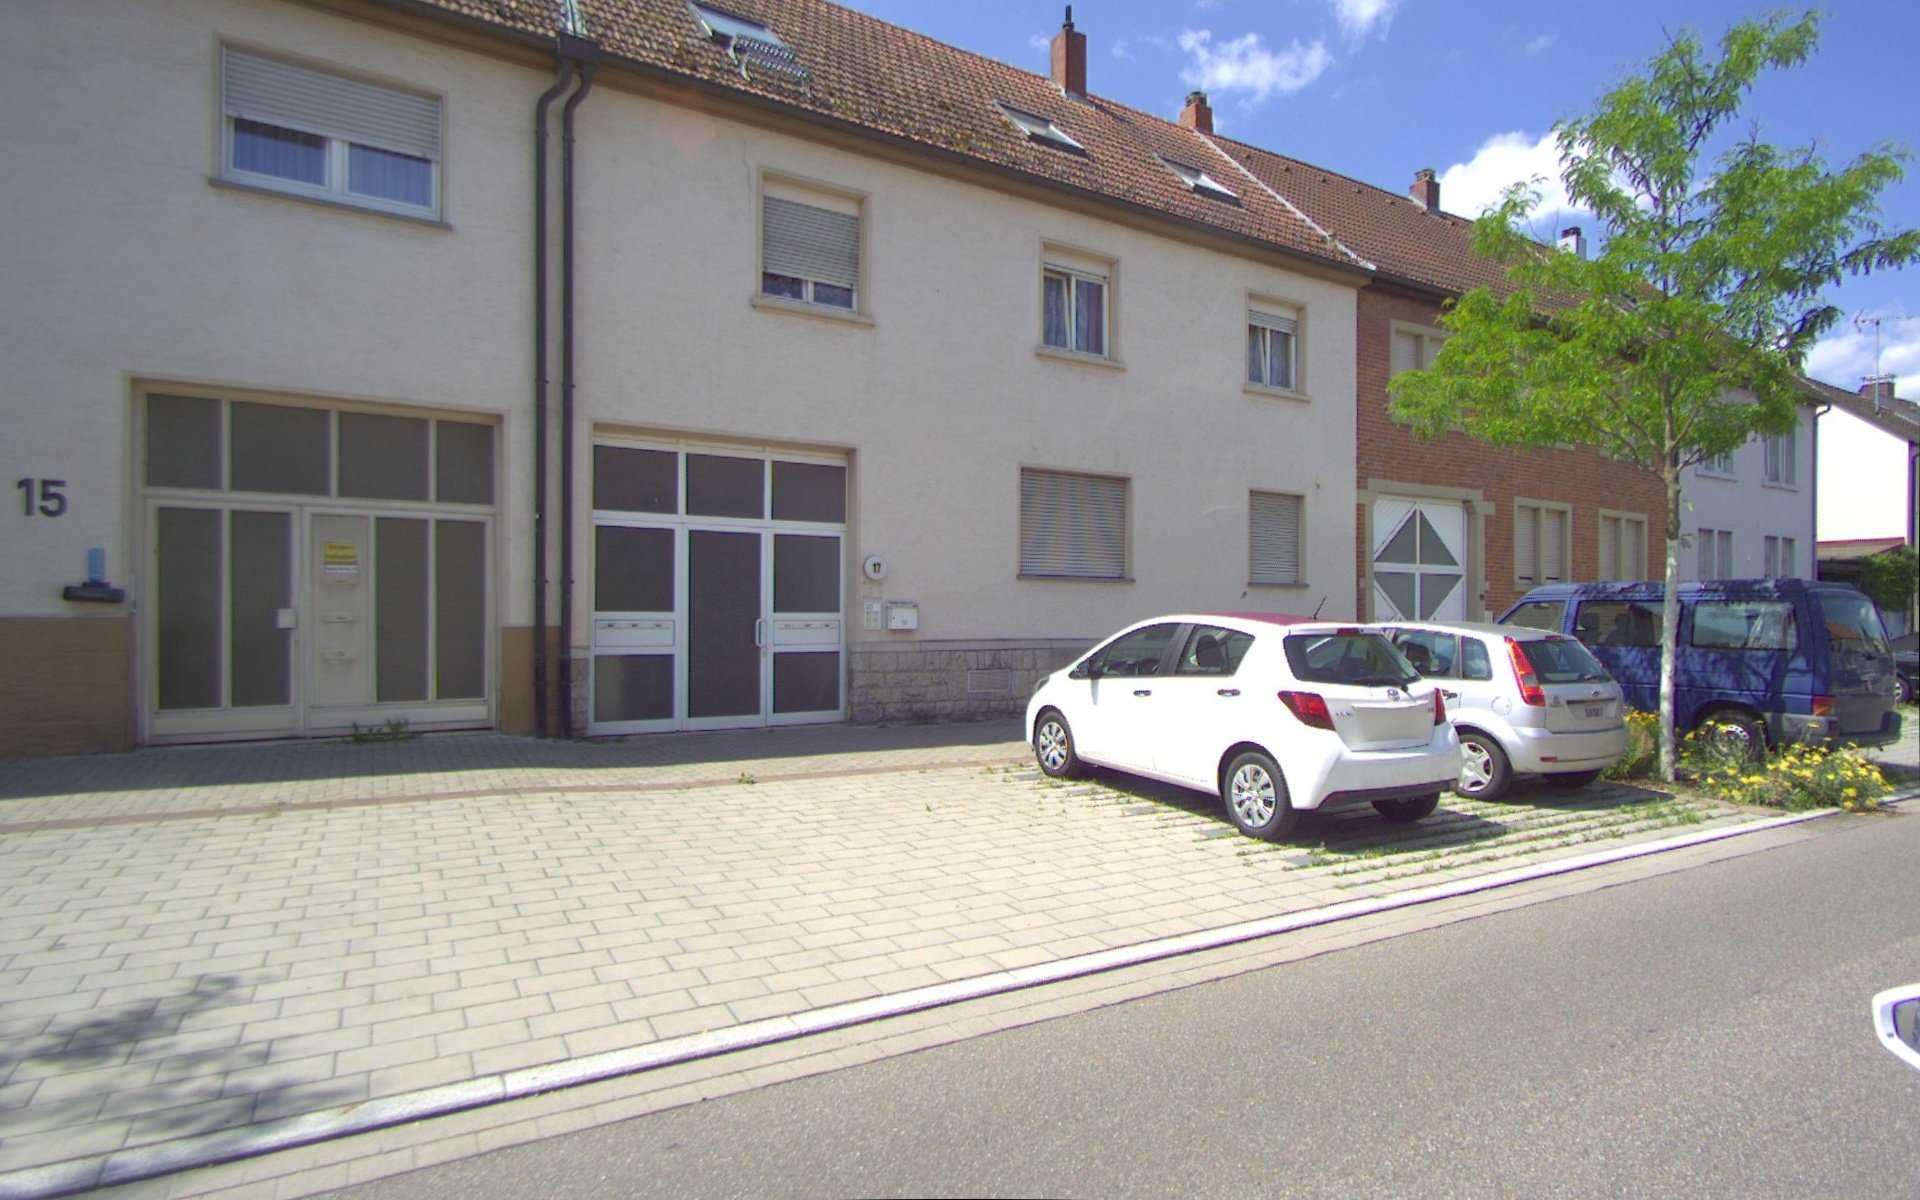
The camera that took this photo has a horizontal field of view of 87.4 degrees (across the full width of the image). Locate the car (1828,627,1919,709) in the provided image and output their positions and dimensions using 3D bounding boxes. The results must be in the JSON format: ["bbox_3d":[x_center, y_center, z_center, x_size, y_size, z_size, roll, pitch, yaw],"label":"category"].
[{"bbox_3d":[18.779,1.304,18.045,1.774,1.444,4.502,1,0,-30],"label":"car"}]

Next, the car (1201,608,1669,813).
[{"bbox_3d":[4.373,0.883,9.899,1.750,1.508,3.900,1,0,-28],"label":"car"}]

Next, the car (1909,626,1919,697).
[{"bbox_3d":[22.009,1.349,20.140,1.756,1.497,4.031,1,0,-32],"label":"car"}]

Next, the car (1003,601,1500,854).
[{"bbox_3d":[2.102,0.812,8.360,1.750,1.508,3.900,1,0,-28],"label":"car"}]

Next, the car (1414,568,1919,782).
[{"bbox_3d":[8.065,0.705,11.995,1.928,2.023,4.594,1,0,-28],"label":"car"}]

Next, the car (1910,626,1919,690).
[{"bbox_3d":[24.267,1.400,22.254,1.757,1.497,4.377,1,0,-33],"label":"car"}]
